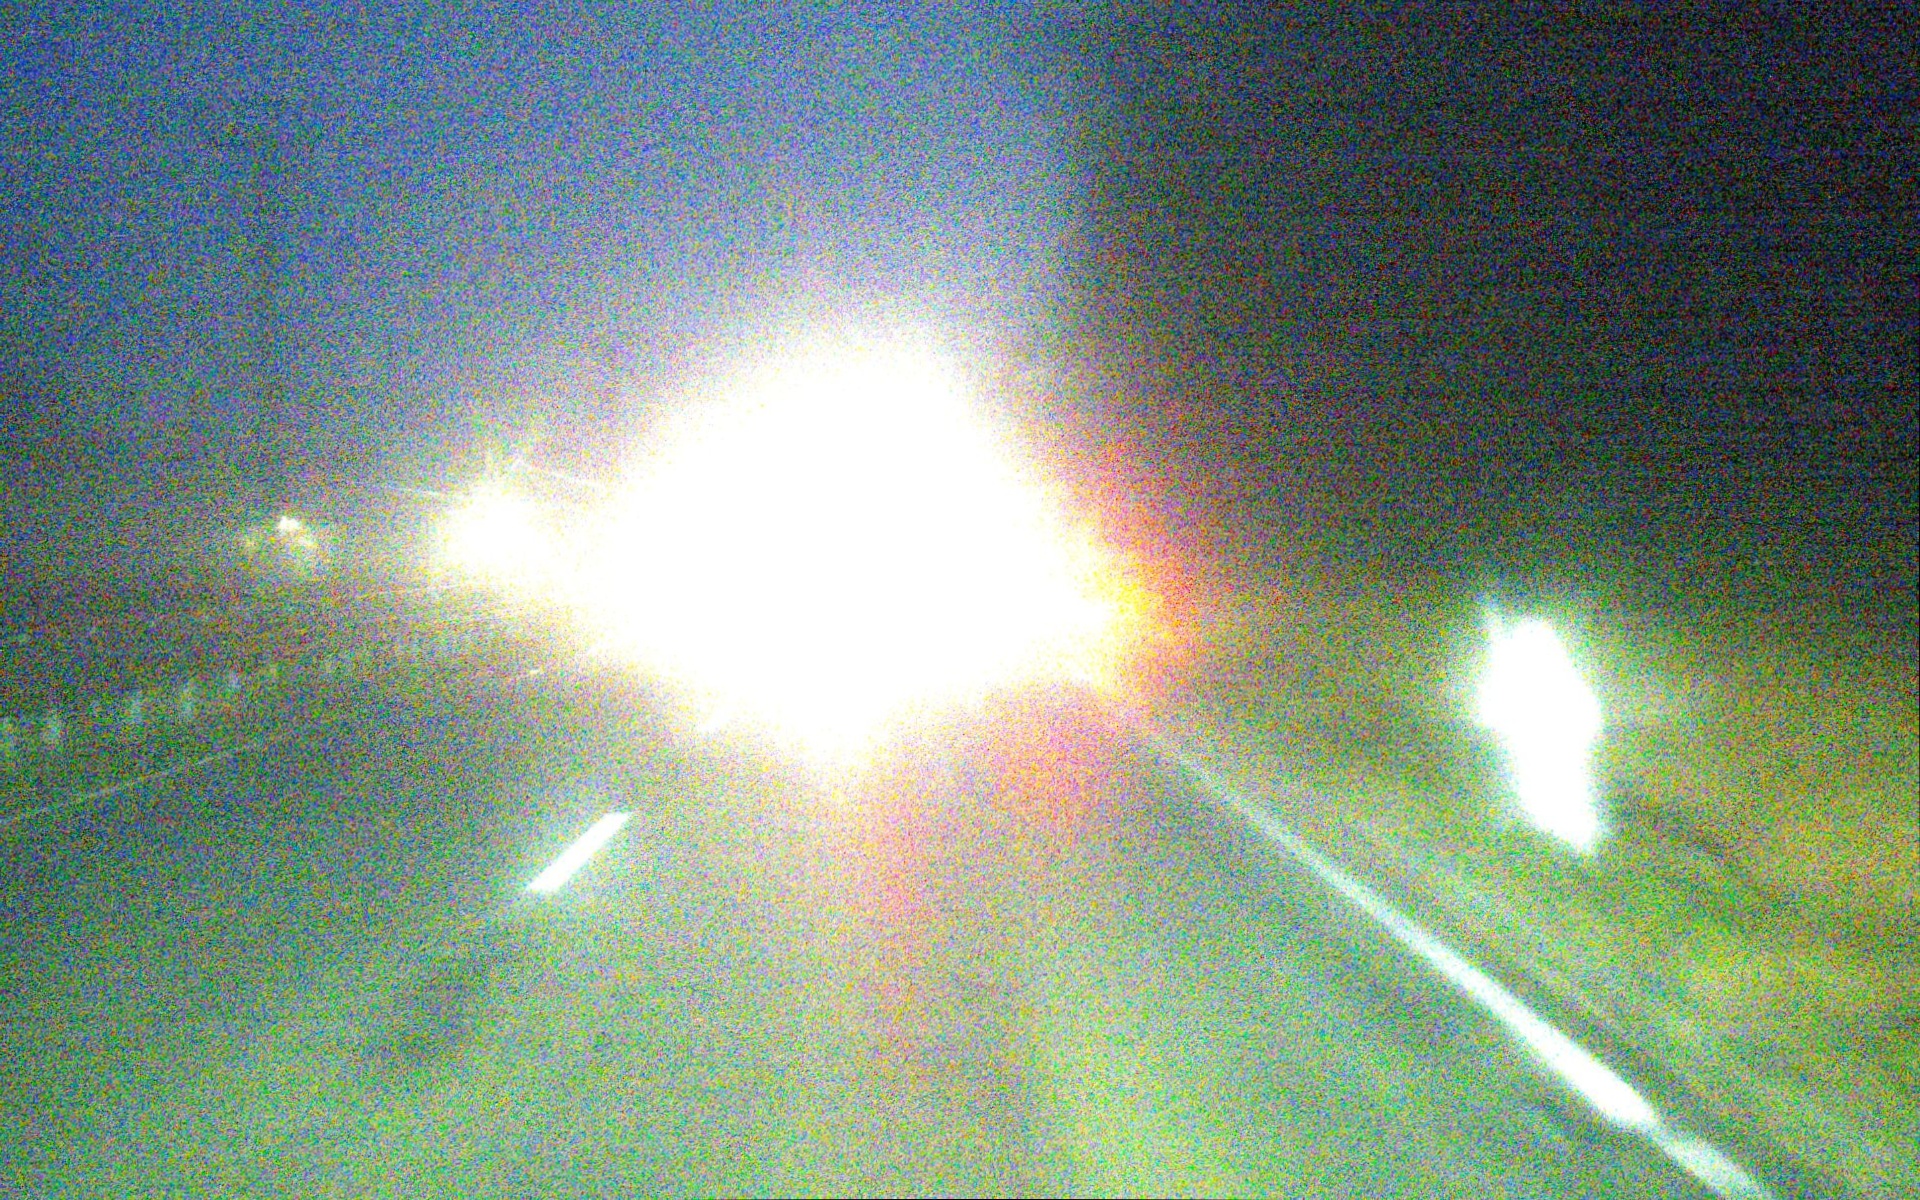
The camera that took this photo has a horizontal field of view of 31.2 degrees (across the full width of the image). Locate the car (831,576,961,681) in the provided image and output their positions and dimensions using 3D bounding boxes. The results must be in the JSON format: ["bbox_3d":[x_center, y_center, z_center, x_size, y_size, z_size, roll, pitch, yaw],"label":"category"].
[{"bbox_3d":[-1.333,0.561,69.737,1.993,2.007,4.001,-1,0,-10],"label":"car"}]

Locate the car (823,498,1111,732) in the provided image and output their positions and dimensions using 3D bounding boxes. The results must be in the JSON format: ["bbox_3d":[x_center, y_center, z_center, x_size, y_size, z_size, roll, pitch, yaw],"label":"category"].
[{"bbox_3d":[0.076,0.164,32.890,2.458,1.952,4.911,-3,-1,0],"label":"car"}]
